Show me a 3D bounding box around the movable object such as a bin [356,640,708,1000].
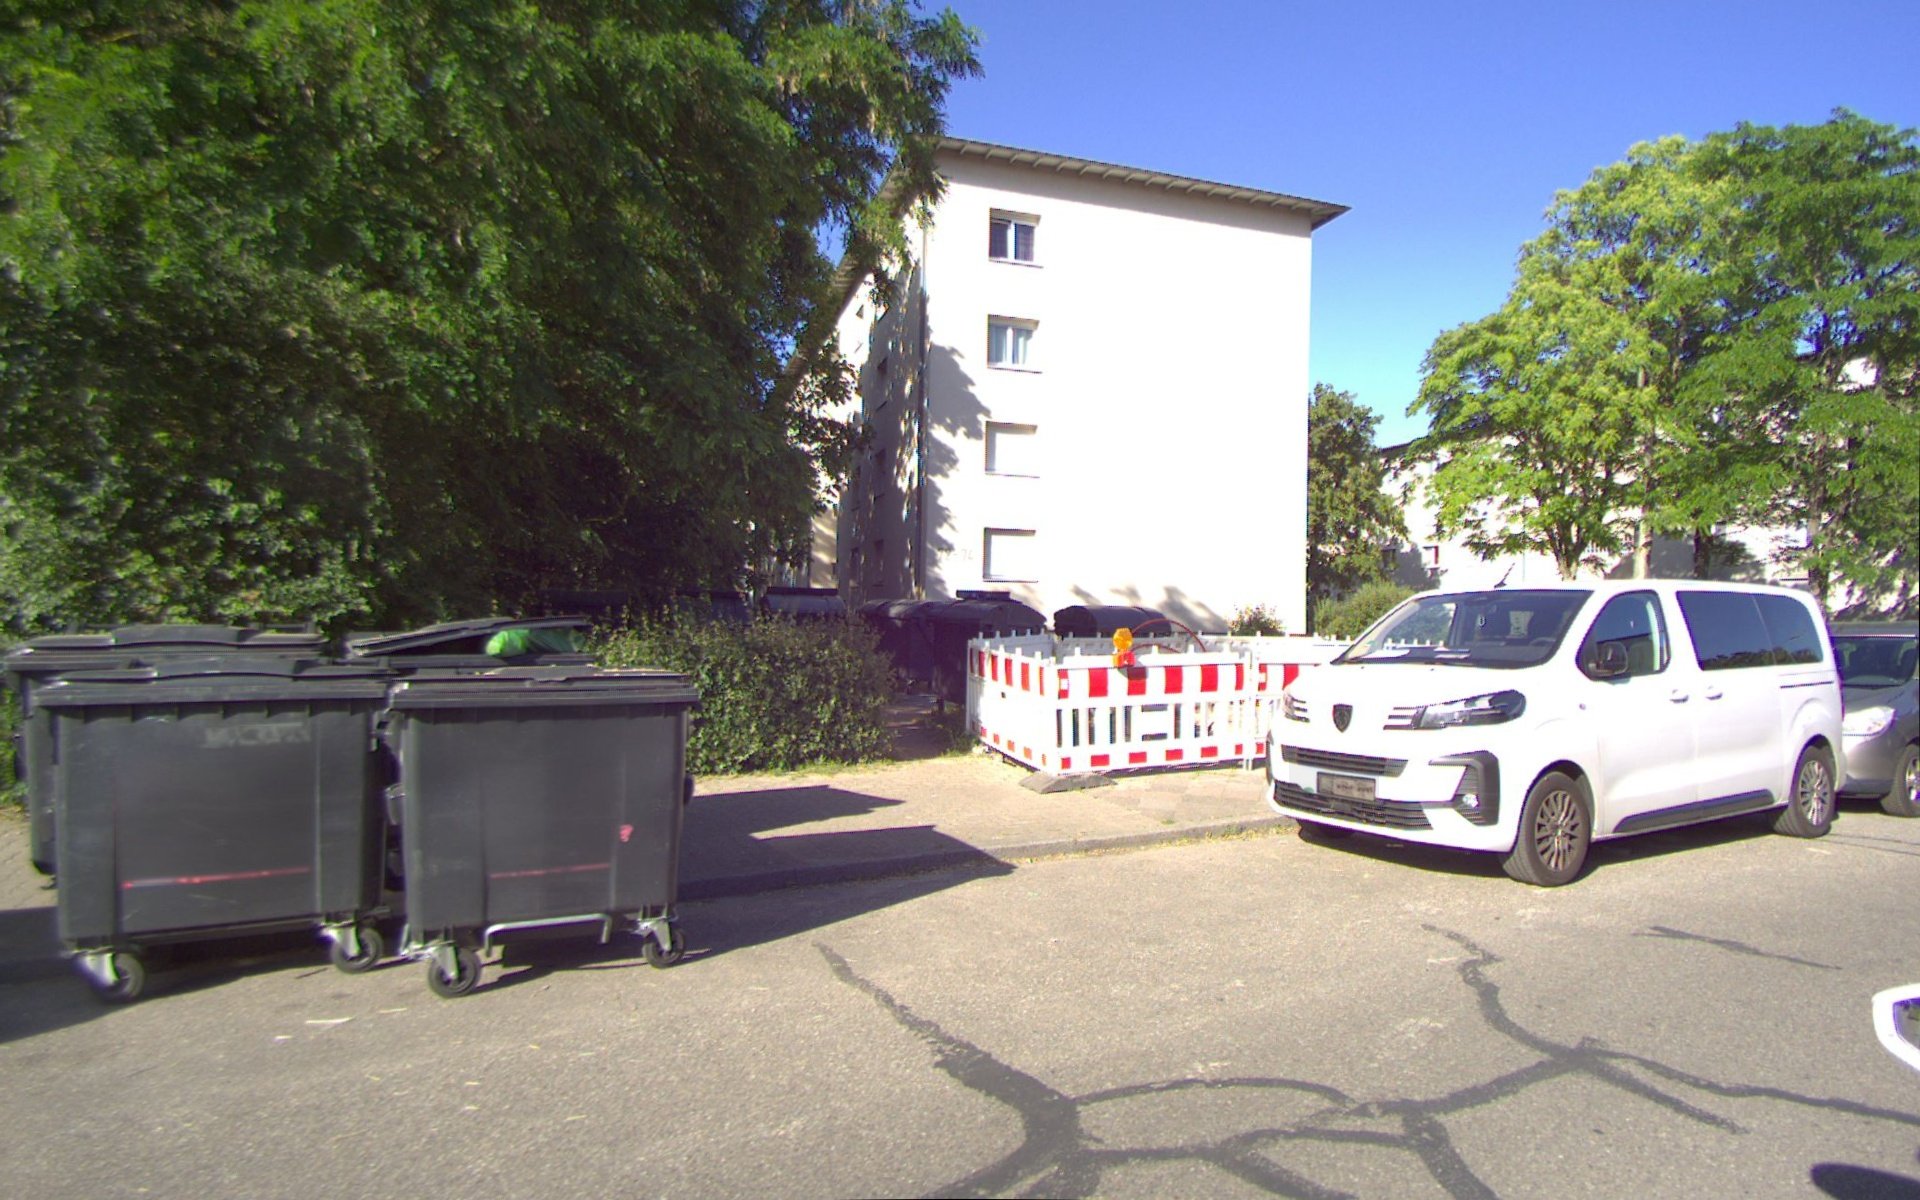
[{"bbox_3d":[-1.840,0.859,4.440,1.302,1.333,0.801,1,0,-23],"label":"movable object such as a bin"}]

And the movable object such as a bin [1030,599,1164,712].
[{"bbox_3d":[1.829,0.715,13.509,1.248,1.420,1.269,2,-1,-31],"label":"movable object such as a bin"}]

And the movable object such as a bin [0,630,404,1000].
[{"bbox_3d":[-3.125,0.822,4.275,1.252,1.357,0.607,2,-1,-26],"label":"movable object such as a bin"}]

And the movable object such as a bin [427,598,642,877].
[{"bbox_3d":[-2.493,0.715,5.851,0.886,1.419,1.053,1,0,-38],"label":"movable object such as a bin"}]

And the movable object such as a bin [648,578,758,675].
[{"bbox_3d":[-4.019,0.419,15.648,1.487,1.427,1.273,2,-1,-22],"label":"movable object such as a bin"}]

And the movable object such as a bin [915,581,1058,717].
[{"bbox_3d":[0.317,0.585,12.443,1.267,1.572,1.250,2,-1,-34],"label":"movable object such as a bin"}]

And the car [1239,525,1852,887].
[{"bbox_3d":[4.446,0.643,7.462,4.613,1.987,1.856,1,-1,-29],"label":"car"}]

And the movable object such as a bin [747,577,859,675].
[{"bbox_3d":[-2.580,0.426,16.441,1.489,1.509,1.272,2,-1,-25],"label":"movable object such as a bin"}]

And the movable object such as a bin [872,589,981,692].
[{"bbox_3d":[-0.537,0.619,15.665,1.263,1.509,1.253,2,-1,-27],"label":"movable object such as a bin"}]

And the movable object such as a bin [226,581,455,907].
[{"bbox_3d":[-3.267,0.659,5.270,0.886,1.487,1.053,2,0,-38],"label":"movable object such as a bin"}]

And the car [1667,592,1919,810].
[{"bbox_3d":[8.914,0.868,9.747,4.284,1.745,1.550,1,-1,-27],"label":"car"}]

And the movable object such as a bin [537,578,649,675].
[{"bbox_3d":[-5.522,0.402,15.124,1.487,1.373,1.273,2,-1,-22],"label":"movable object such as a bin"}]

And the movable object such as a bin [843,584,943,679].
[{"bbox_3d":[-1.134,0.522,16.842,1.263,1.509,1.253,2,-1,-27],"label":"movable object such as a bin"}]
